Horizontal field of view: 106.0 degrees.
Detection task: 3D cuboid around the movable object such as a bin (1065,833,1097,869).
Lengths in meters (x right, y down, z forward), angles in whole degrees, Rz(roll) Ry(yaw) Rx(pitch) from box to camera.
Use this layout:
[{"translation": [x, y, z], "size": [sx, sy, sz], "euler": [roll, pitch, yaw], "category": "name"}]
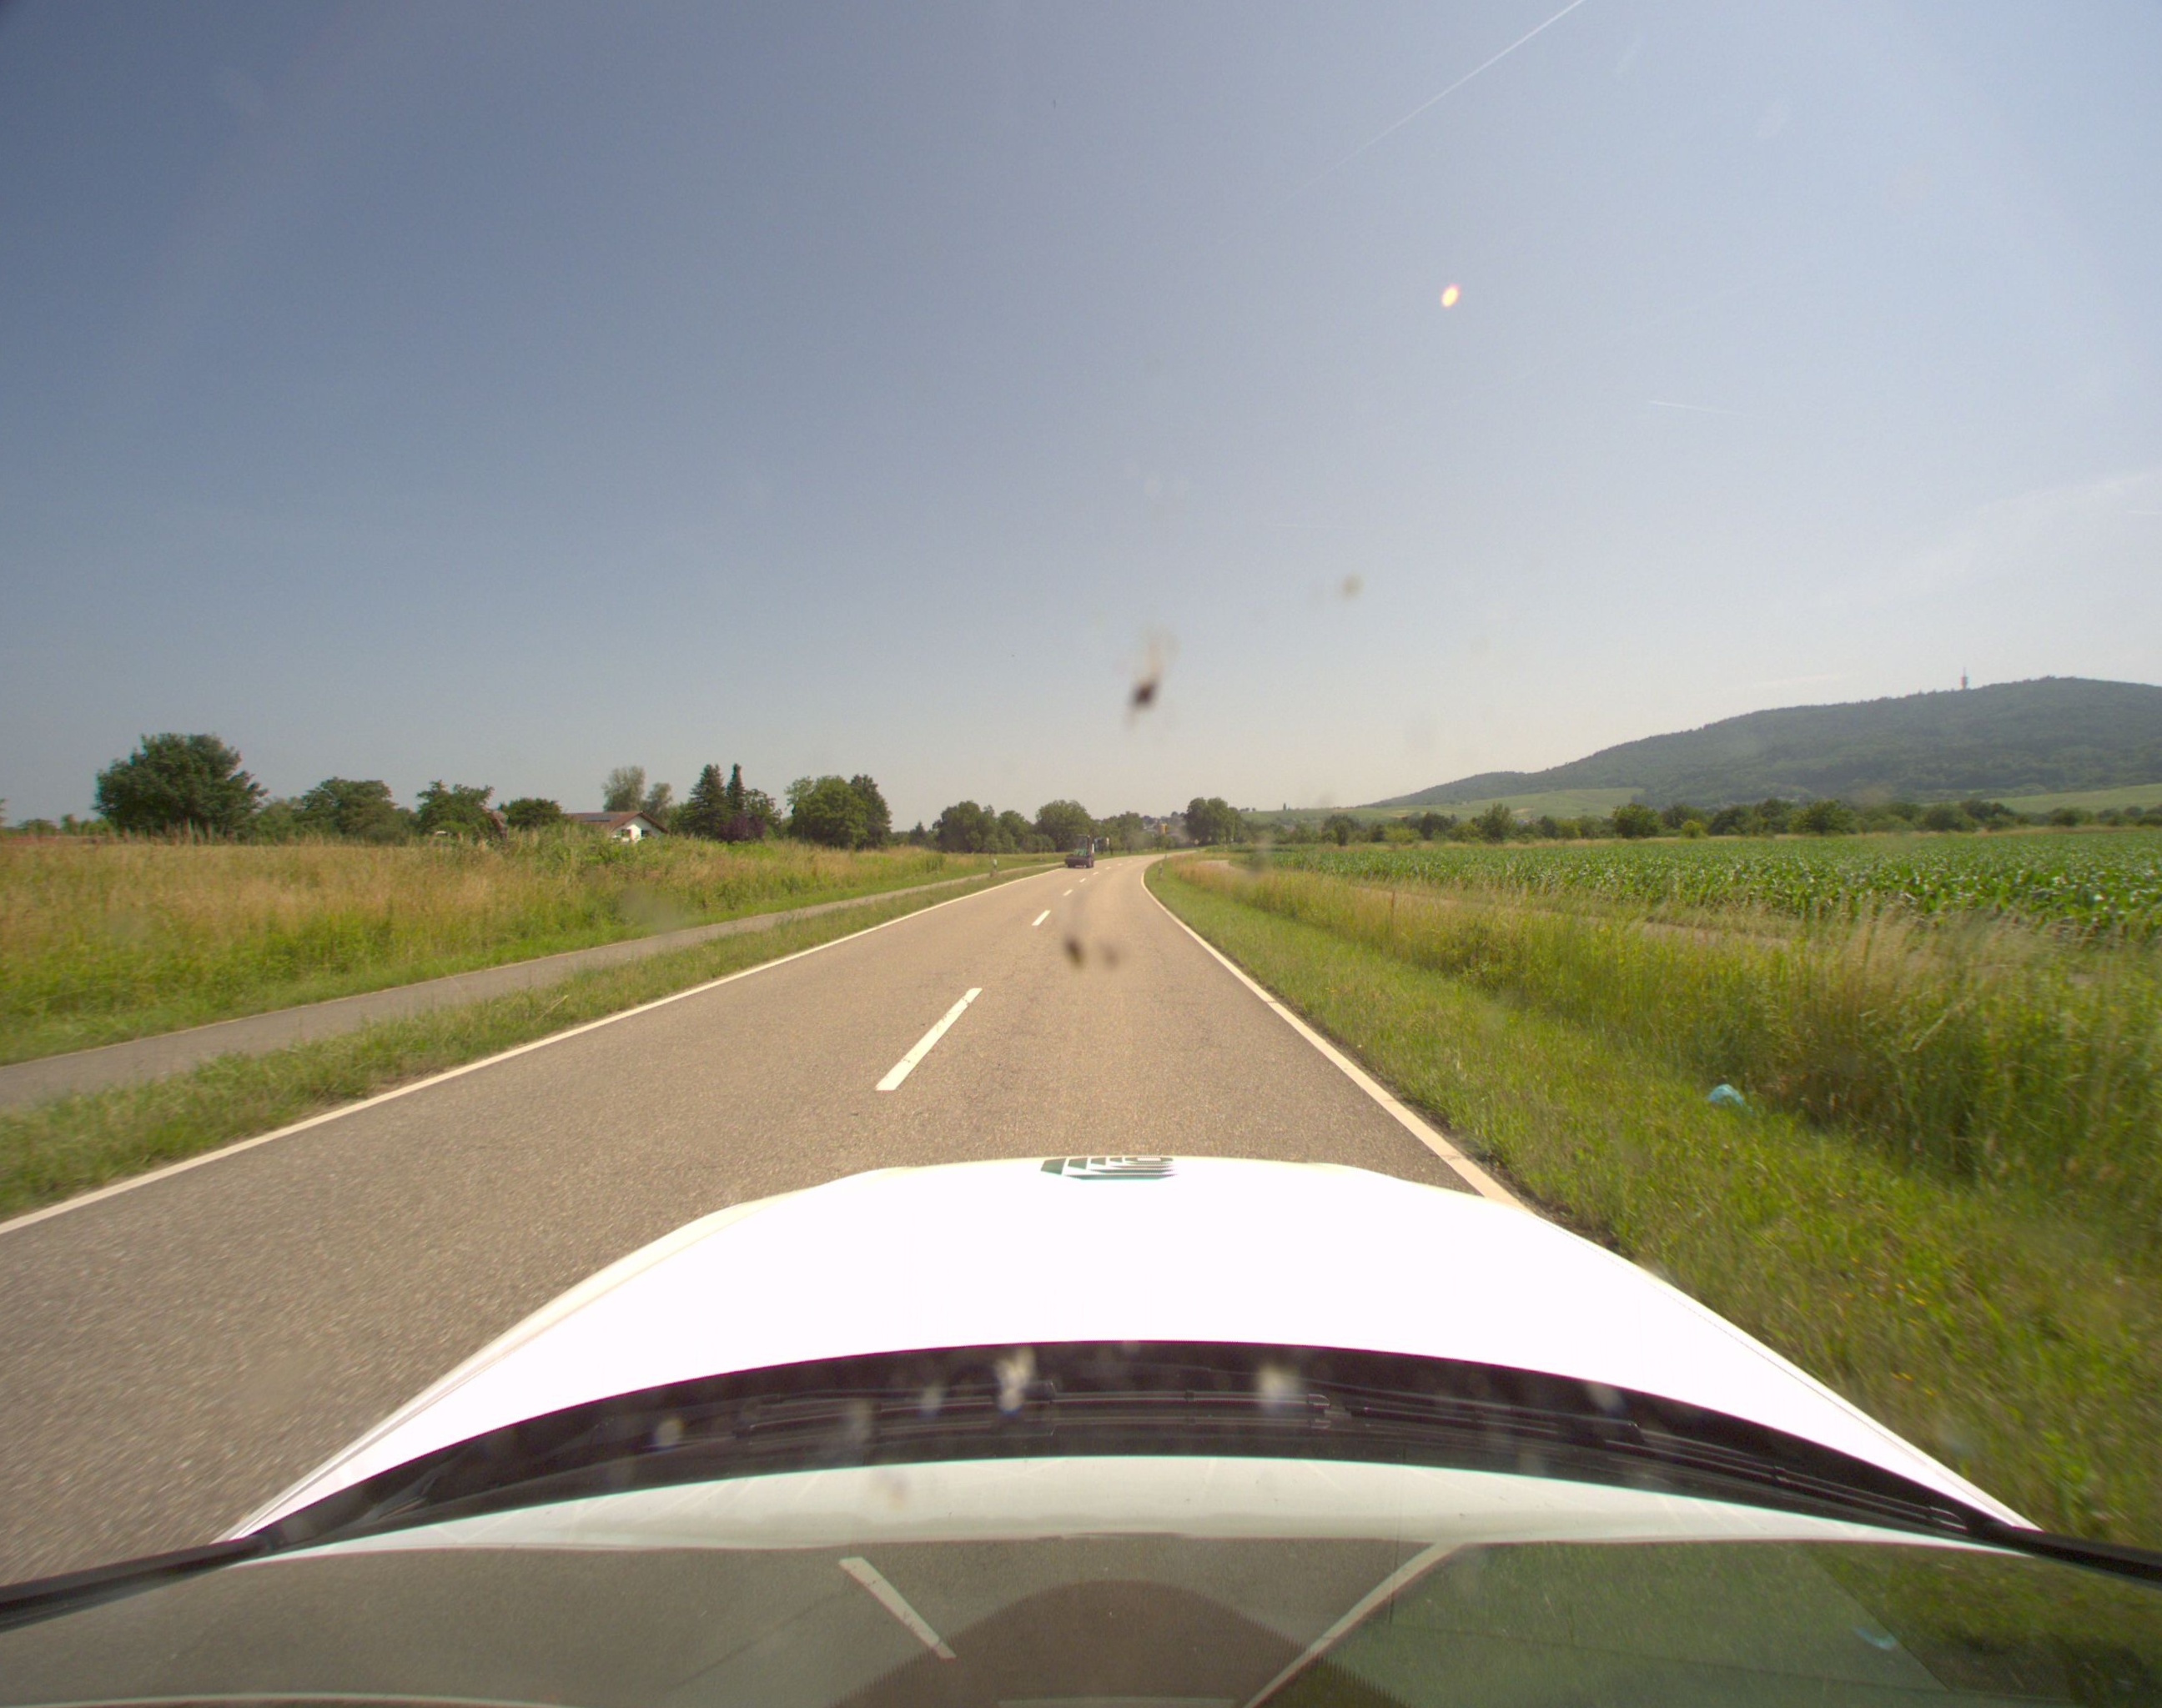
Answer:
[{"translation": [0.064, -0.255, 65.267], "size": [1.991, 2.755, 5.238], "euler": [2, 0, 5], "category": "movable object such as a bin"}]
